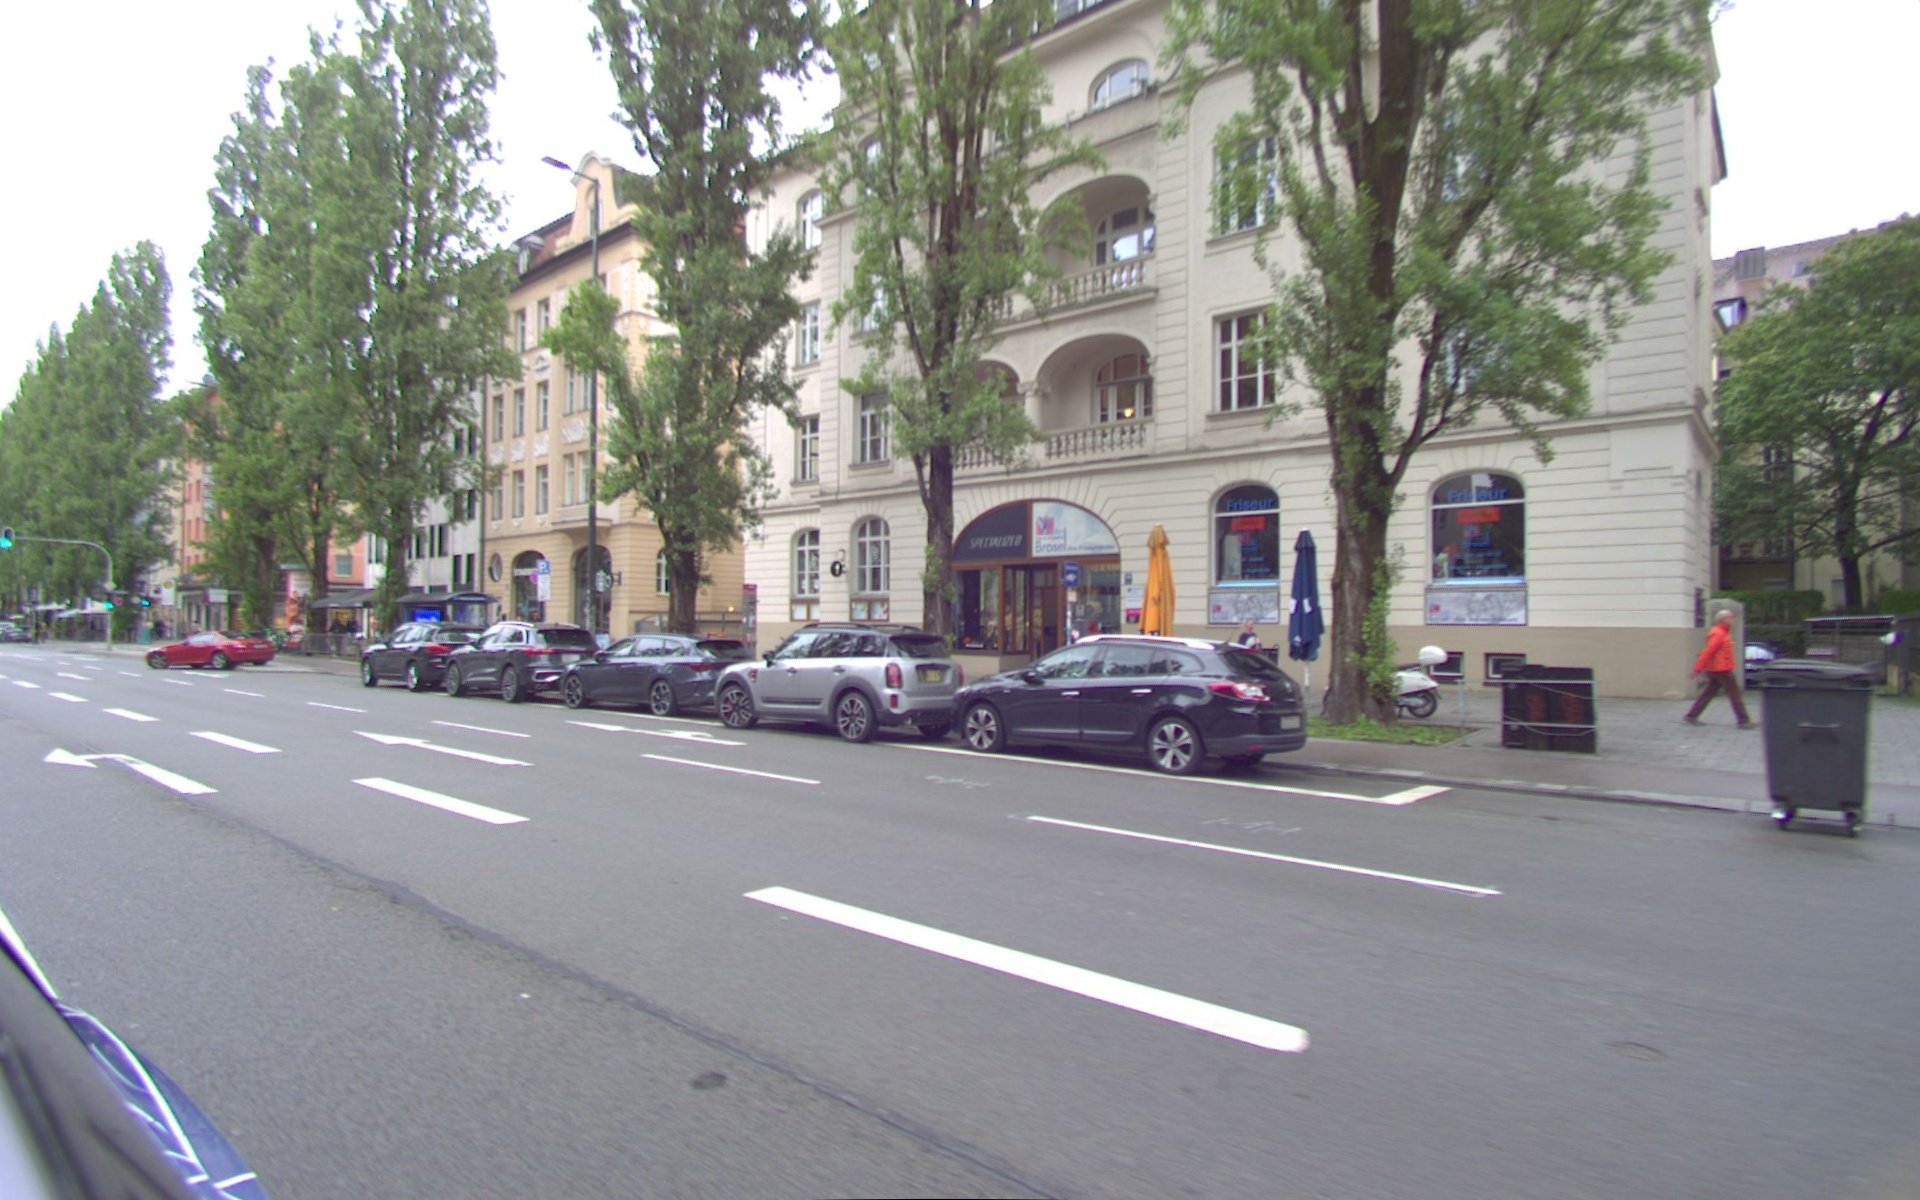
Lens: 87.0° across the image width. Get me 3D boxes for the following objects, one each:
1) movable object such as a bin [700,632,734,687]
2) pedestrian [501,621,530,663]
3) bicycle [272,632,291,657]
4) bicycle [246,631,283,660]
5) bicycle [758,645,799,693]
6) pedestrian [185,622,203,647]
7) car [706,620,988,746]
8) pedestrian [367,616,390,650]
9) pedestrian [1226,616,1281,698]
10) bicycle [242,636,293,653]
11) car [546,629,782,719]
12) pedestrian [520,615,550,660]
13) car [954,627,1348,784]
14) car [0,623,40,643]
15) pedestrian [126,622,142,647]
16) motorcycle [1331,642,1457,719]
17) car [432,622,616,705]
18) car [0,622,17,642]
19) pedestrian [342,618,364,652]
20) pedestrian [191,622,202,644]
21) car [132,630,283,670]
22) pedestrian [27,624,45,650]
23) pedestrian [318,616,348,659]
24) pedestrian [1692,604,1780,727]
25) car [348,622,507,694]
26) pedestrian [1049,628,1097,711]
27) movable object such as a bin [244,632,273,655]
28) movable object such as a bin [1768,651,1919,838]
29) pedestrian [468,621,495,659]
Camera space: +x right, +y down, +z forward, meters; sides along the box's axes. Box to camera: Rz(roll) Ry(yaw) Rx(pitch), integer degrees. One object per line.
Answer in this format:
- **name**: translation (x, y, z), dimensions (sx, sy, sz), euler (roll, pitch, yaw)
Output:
- **movable object such as a bin**: translation (-6.094, 1.479, 25.340), dimensions (0.586, 1.326, 0.598), euler (-1, -2, 41)
- **pedestrian**: translation (-18.058, 1.699, 41.113), dimensions (0.977, 1.694, 0.724), euler (-2, -1, 41)
- **bicycle**: translation (-31.827, 2.094, 47.484), dimensions (0.499, 1.096, 1.815), euler (0, 0, -26)
- **bicycle**: translation (-33.197, 2.147, 48.328), dimensions (0.501, 1.299, 1.955), euler (-1, 0, -2)
- **bicycle**: translation (-4.566, 1.704, 25.398), dimensions (0.530, 1.121, 2.002), euler (1, -2, -24)
- **pedestrian**: translation (-50.385, 2.263, 66.575), dimensions (0.934, 1.631, 0.770), euler (-2, -2, 40)
- **car**: translation (-1.744, 1.122, 14.807), dimensions (4.130, 1.587, 1.763), euler (-1, -4, 41)
- **pedestrian**: translation (-30.840, 1.728, 53.670), dimensions (0.954, 1.757, 0.834), euler (-1, 0, 42)
- **pedestrian**: translation (5.795, 1.103, 19.970), dimensions (0.804, 1.549, 0.760), euler (-1, 0, 40)
- **bicycle**: translation (-35.007, 2.245, 51.174), dimensions (0.827, 0.514, 1.939), euler (22, 8, 21)
- **car**: translation (-5.486, 1.291, 18.476), dimensions (4.681, 1.435, 1.668), euler (-1, -4, 38)
- **pedestrian**: translation (-17.508, 1.552, 41.681), dimensions (0.911, 1.801, 0.791), euler (-2, -1, 41)
- **car**: translation (2.082, 1.103, 11.859), dimensions (4.311, 1.516, 1.645), euler (-1, -4, 42)
- **car**: translation (-71.622, 2.510, 77.037), dimensions (4.586, 1.449, 1.686), euler (-1, -3, 40)
- **pedestrian**: translation (-58.657, 2.422, 71.878), dimensions (0.778, 1.784, 0.716), euler (-2, -2, 42)
- **motorcycle**: translation (6.834, 1.246, 15.972), dimensions (1.806, 1.148, 0.473), euler (0, -2, 28)
- **car**: translation (-9.443, 1.301, 21.749), dimensions (4.628, 1.607, 1.784), euler (-1, -3, 41)
- **car**: translation (-77.883, 2.619, 82.007), dimensions (4.094, 1.595, 1.685), euler (-1, -2, 41)
- **pedestrian**: translation (-31.645, 1.813, 52.743), dimensions (0.941, 1.753, 0.719), euler (-1, 0, 40)
- **pedestrian**: translation (-59.733, 2.581, 79.156), dimensions (0.513, 1.704, 0.580), euler (-1, -2, 41)
- **car**: translation (-25.826, 1.695, 34.799), dimensions (4.048, 1.308, 1.879), euler (0, -2, 9)
- **pedestrian**: translation (-65.497, 2.586, 71.747), dimensions (0.725, 1.809, 0.995), euler (0, 0, -31)
- **pedestrian**: translation (-26.510, 1.575, 42.780), dimensions (0.895, 1.757, 0.821), euler (-2, 3, -44)
- **pedestrian**: translation (11.143, 0.907, 14.533), dimensions (0.952, 1.685, 0.726), euler (-1, 0, 41)
- **car**: translation (-13.327, 1.377, 25.198), dimensions (4.711, 1.630, 1.802), euler (-1, -2, 39)
- **pedestrian**: translation (2.199, 1.331, 19.682), dimensions (0.784, 1.549, 0.679), euler (-1, 0, 20)
- **movable object such as a bin**: translation (-32.565, 2.030, 46.959), dimensions (0.847, 1.049, 0.722), euler (-1, 0, 12)
- **movable object such as a bin**: translation (7.064, 1.082, 8.074), dimensions (0.901, 1.320, 1.264), euler (-1, -2, 41)
- **pedestrian**: translation (-20.497, 1.687, 43.345), dimensions (0.989, 1.579, 0.742), euler (-1, 0, 42)
